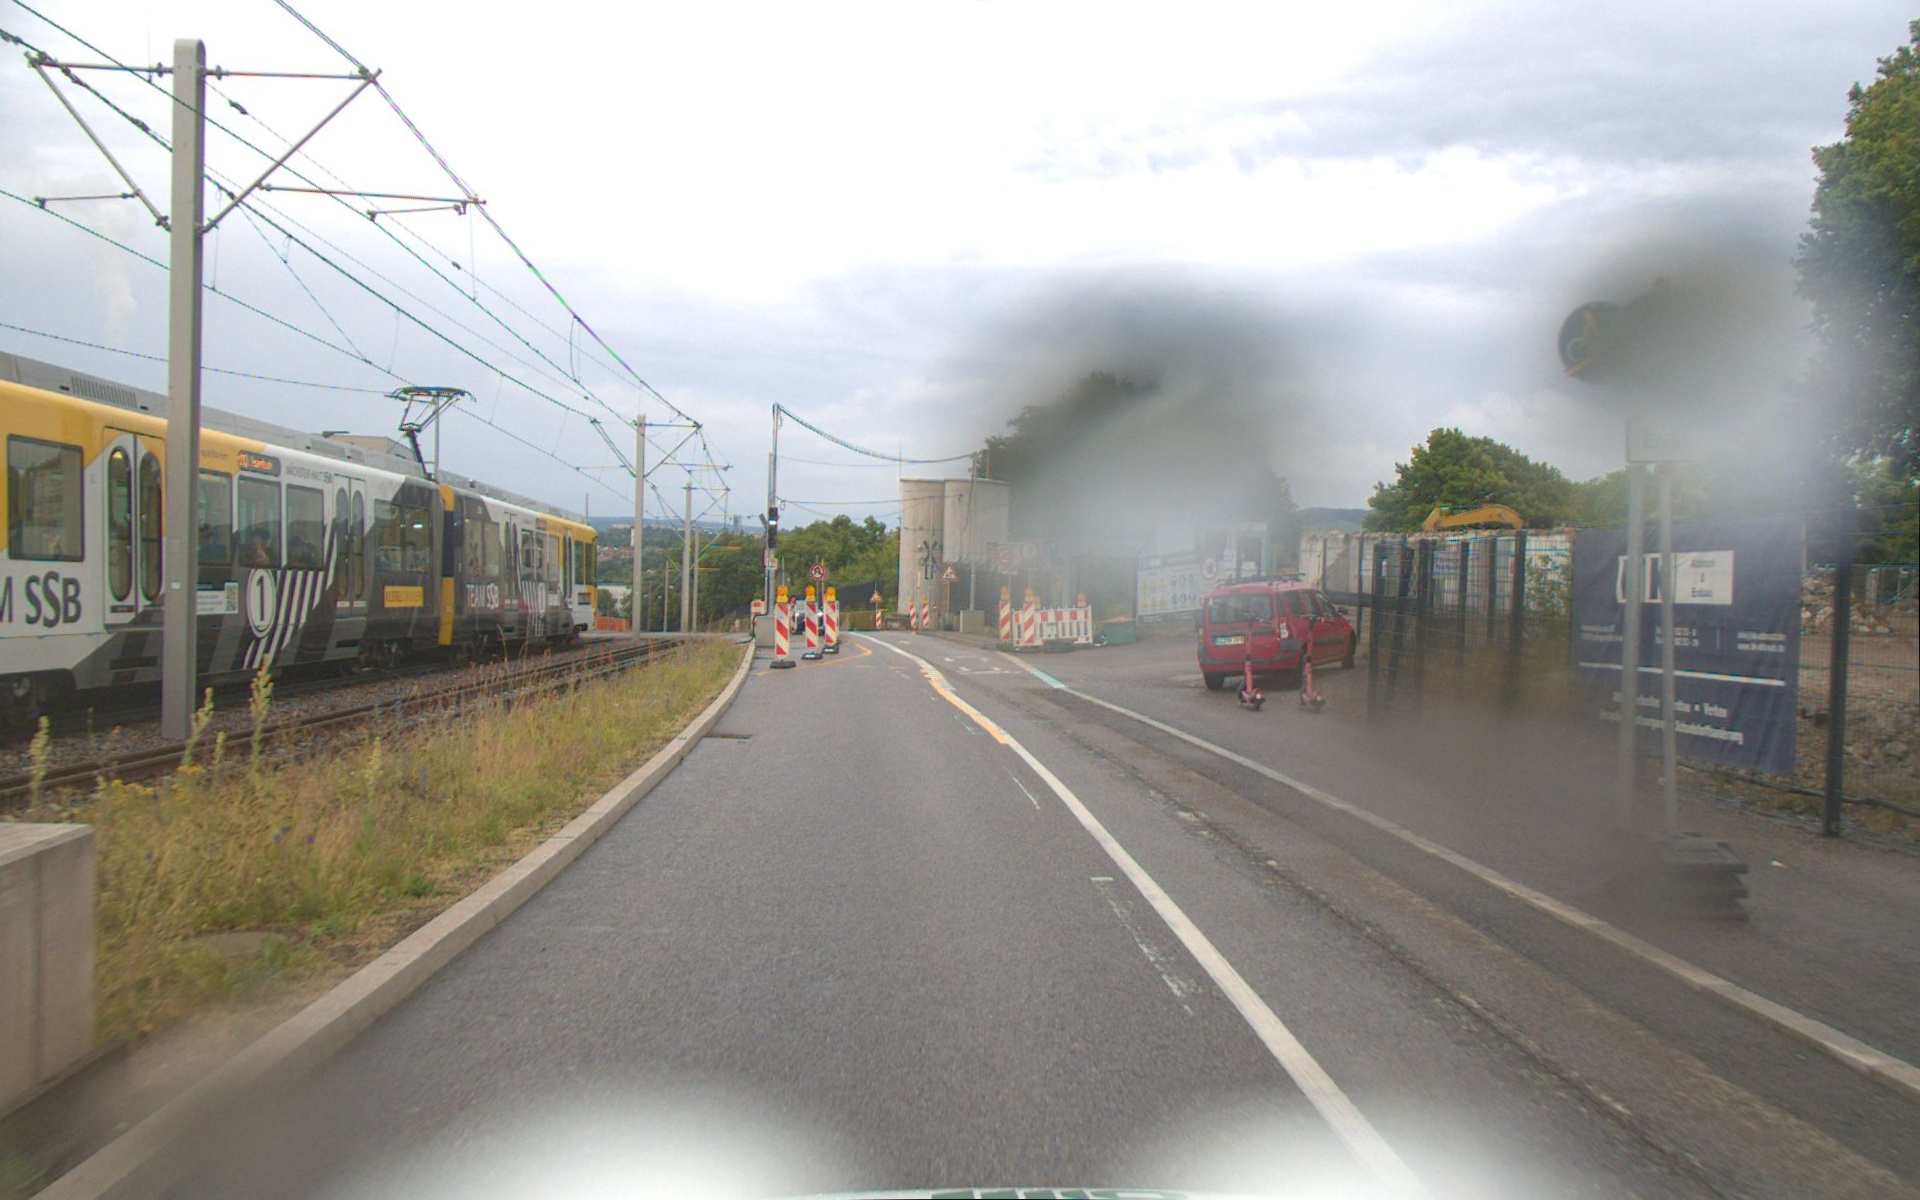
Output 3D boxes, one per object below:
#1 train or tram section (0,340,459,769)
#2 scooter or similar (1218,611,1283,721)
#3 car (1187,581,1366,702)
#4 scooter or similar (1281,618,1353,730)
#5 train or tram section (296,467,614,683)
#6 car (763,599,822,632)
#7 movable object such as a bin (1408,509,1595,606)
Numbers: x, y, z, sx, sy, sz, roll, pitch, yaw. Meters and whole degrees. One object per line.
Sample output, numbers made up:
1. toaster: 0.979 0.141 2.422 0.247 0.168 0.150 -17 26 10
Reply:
1. train or tram section: -10.563 -0.448 21.361 2.896 3.954 19.562 2 0 -2
2. scooter or similar: 3.843 0.843 21.971 0.602 1.375 1.913 1 0 3
3. car: 5.372 0.642 27.644 1.784 1.825 4.403 1 0 27
4. scooter or similar: 4.669 0.944 21.720 0.602 1.375 1.913 1 0 3
5. train or tram section: -11.509 -0.452 40.791 2.896 3.954 19.277 2 0 -3
6. car: -8.941 0.826 87.927 1.966 1.707 4.457 1 -1 -23
7. movable object such as a bin: 34.848 -2.686 106.795 10.995 6.100 3.493 0 -1 4
